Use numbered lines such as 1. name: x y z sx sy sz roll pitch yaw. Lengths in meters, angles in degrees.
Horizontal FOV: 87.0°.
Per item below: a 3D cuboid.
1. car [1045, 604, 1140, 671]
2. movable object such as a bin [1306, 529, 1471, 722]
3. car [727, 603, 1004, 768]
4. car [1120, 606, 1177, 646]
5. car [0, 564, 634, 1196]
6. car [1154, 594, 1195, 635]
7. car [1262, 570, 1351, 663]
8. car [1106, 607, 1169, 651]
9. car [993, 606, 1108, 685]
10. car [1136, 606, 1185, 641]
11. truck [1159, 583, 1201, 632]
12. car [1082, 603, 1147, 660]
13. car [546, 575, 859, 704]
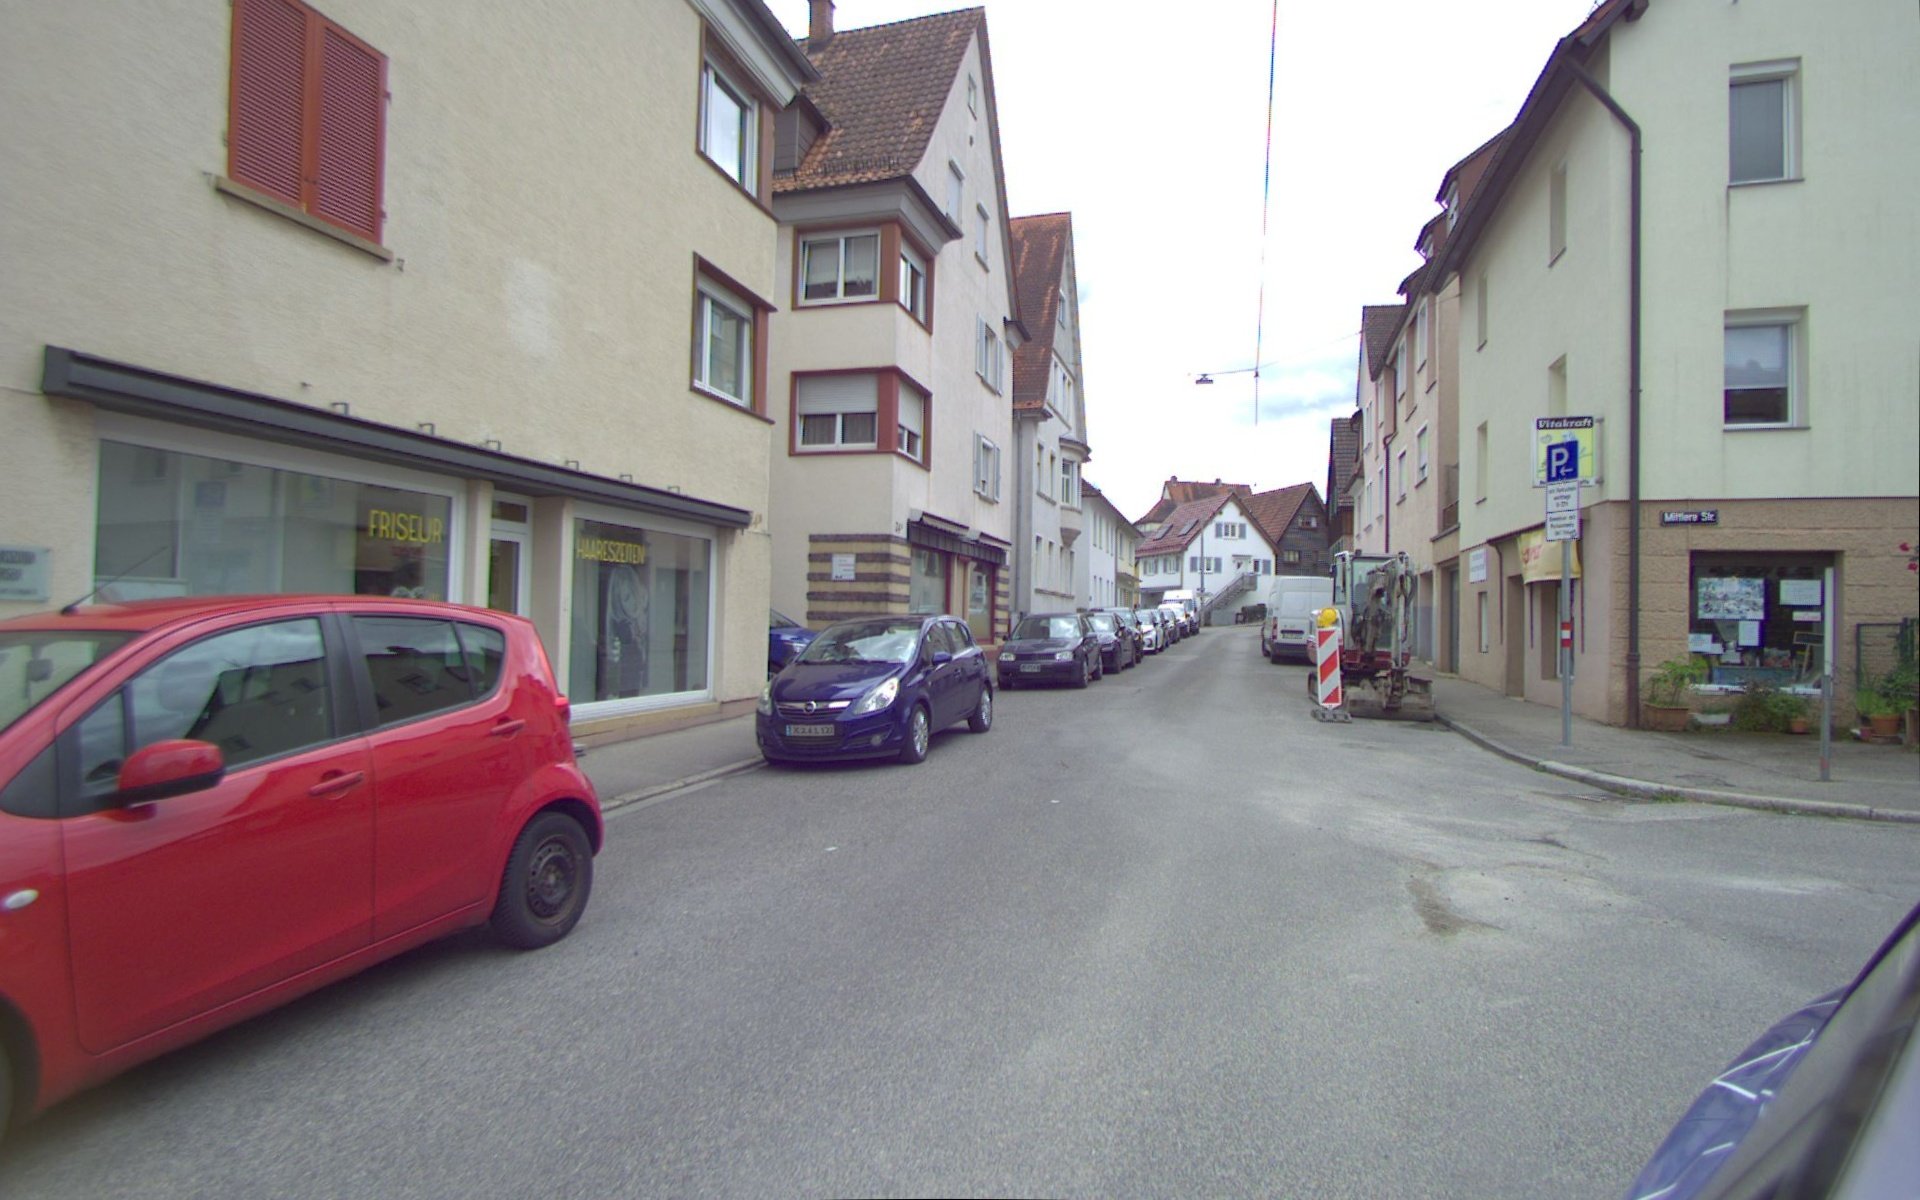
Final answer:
1. car: 3.380 0.873 25.188 1.674 1.468 4.081 -2 -1 17
2. movable object such as a bin: 6.545 0.322 15.923 1.549 2.531 4.655 2 0 13
3. car: -0.821 0.804 11.137 1.673 1.468 3.899 -3 -1 16
4. car: 7.371 0.988 39.366 1.674 1.408 3.692 -2 -1 18
5. car: -2.975 0.721 3.570 1.674 1.576 3.675 -2 -1 17
6. car: 11.283 0.738 53.035 1.674 2.030 4.070 -3 -1 17
7. car: 10.328 0.436 30.643 1.972 2.418 6.590 3 0 15
8. car: 6.219 0.973 35.165 1.674 1.408 3.780 -2 -1 17
9. car: 1.912 0.847 20.373 1.672 1.421 3.983 -1 -1 14
10. car: 8.853 1.003 44.561 1.674 1.408 3.692 -2 -1 18
11. truck: 12.638 0.433 57.965 1.802 2.628 4.753 -3 -1 17
12. car: 4.662 0.891 30.215 1.671 1.539 4.089 -2 -1 12
13. car: -4.356 0.675 17.238 4.835 1.890 1.942 -3 -1 18
